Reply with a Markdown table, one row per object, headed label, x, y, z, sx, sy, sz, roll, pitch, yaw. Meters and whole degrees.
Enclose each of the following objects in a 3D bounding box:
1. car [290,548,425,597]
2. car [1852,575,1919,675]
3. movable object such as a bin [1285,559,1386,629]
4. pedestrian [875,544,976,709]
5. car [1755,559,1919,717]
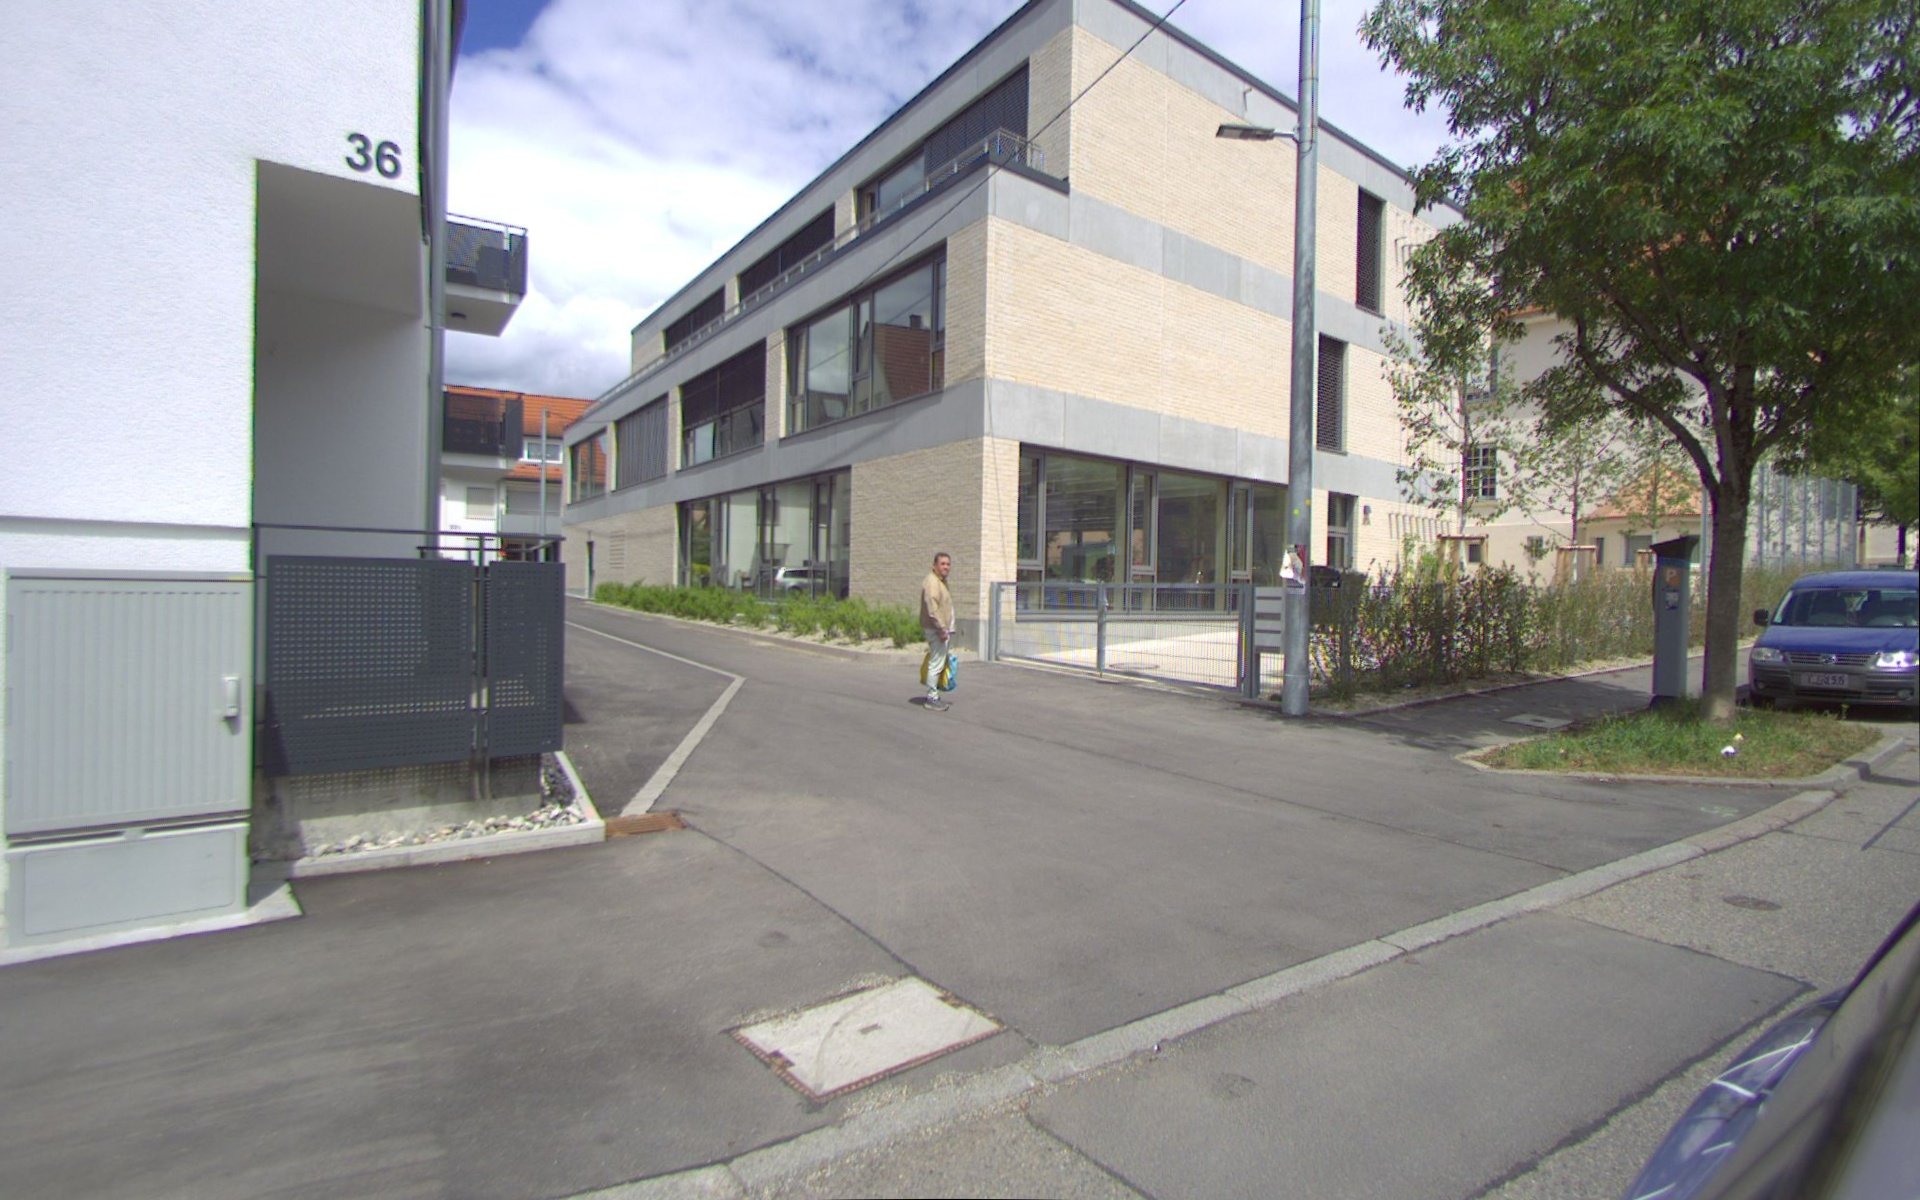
| label | x | y | z | sx | sy | sz | roll | pitch | yaw |
| --- | --- | --- | --- | --- | --- | --- | --- | --- | --- |
| car | -20.595 | -0.925 | 34.722 | 3.857 | 1.524 | 1.700 | 1 | 1 | -31 |
| car | 16.181 | 0.369 | 16.743 | 3.606 | 1.538 | 1.676 | -1 | 1 | -41 |
| movable object such as a bin | 8.165 | -0.141 | 22.020 | 1.774 | 1.465 | 1.351 | 0 | 1 | -39 |
| pedestrian | -0.380 | 0.268 | 11.176 | 0.815 | 1.725 | 0.774 | 0 | 0 | -42 |
| car | 11.863 | 0.372 | 13.119 | 4.087 | 1.765 | 1.697 | -1 | 2 | -41 |
